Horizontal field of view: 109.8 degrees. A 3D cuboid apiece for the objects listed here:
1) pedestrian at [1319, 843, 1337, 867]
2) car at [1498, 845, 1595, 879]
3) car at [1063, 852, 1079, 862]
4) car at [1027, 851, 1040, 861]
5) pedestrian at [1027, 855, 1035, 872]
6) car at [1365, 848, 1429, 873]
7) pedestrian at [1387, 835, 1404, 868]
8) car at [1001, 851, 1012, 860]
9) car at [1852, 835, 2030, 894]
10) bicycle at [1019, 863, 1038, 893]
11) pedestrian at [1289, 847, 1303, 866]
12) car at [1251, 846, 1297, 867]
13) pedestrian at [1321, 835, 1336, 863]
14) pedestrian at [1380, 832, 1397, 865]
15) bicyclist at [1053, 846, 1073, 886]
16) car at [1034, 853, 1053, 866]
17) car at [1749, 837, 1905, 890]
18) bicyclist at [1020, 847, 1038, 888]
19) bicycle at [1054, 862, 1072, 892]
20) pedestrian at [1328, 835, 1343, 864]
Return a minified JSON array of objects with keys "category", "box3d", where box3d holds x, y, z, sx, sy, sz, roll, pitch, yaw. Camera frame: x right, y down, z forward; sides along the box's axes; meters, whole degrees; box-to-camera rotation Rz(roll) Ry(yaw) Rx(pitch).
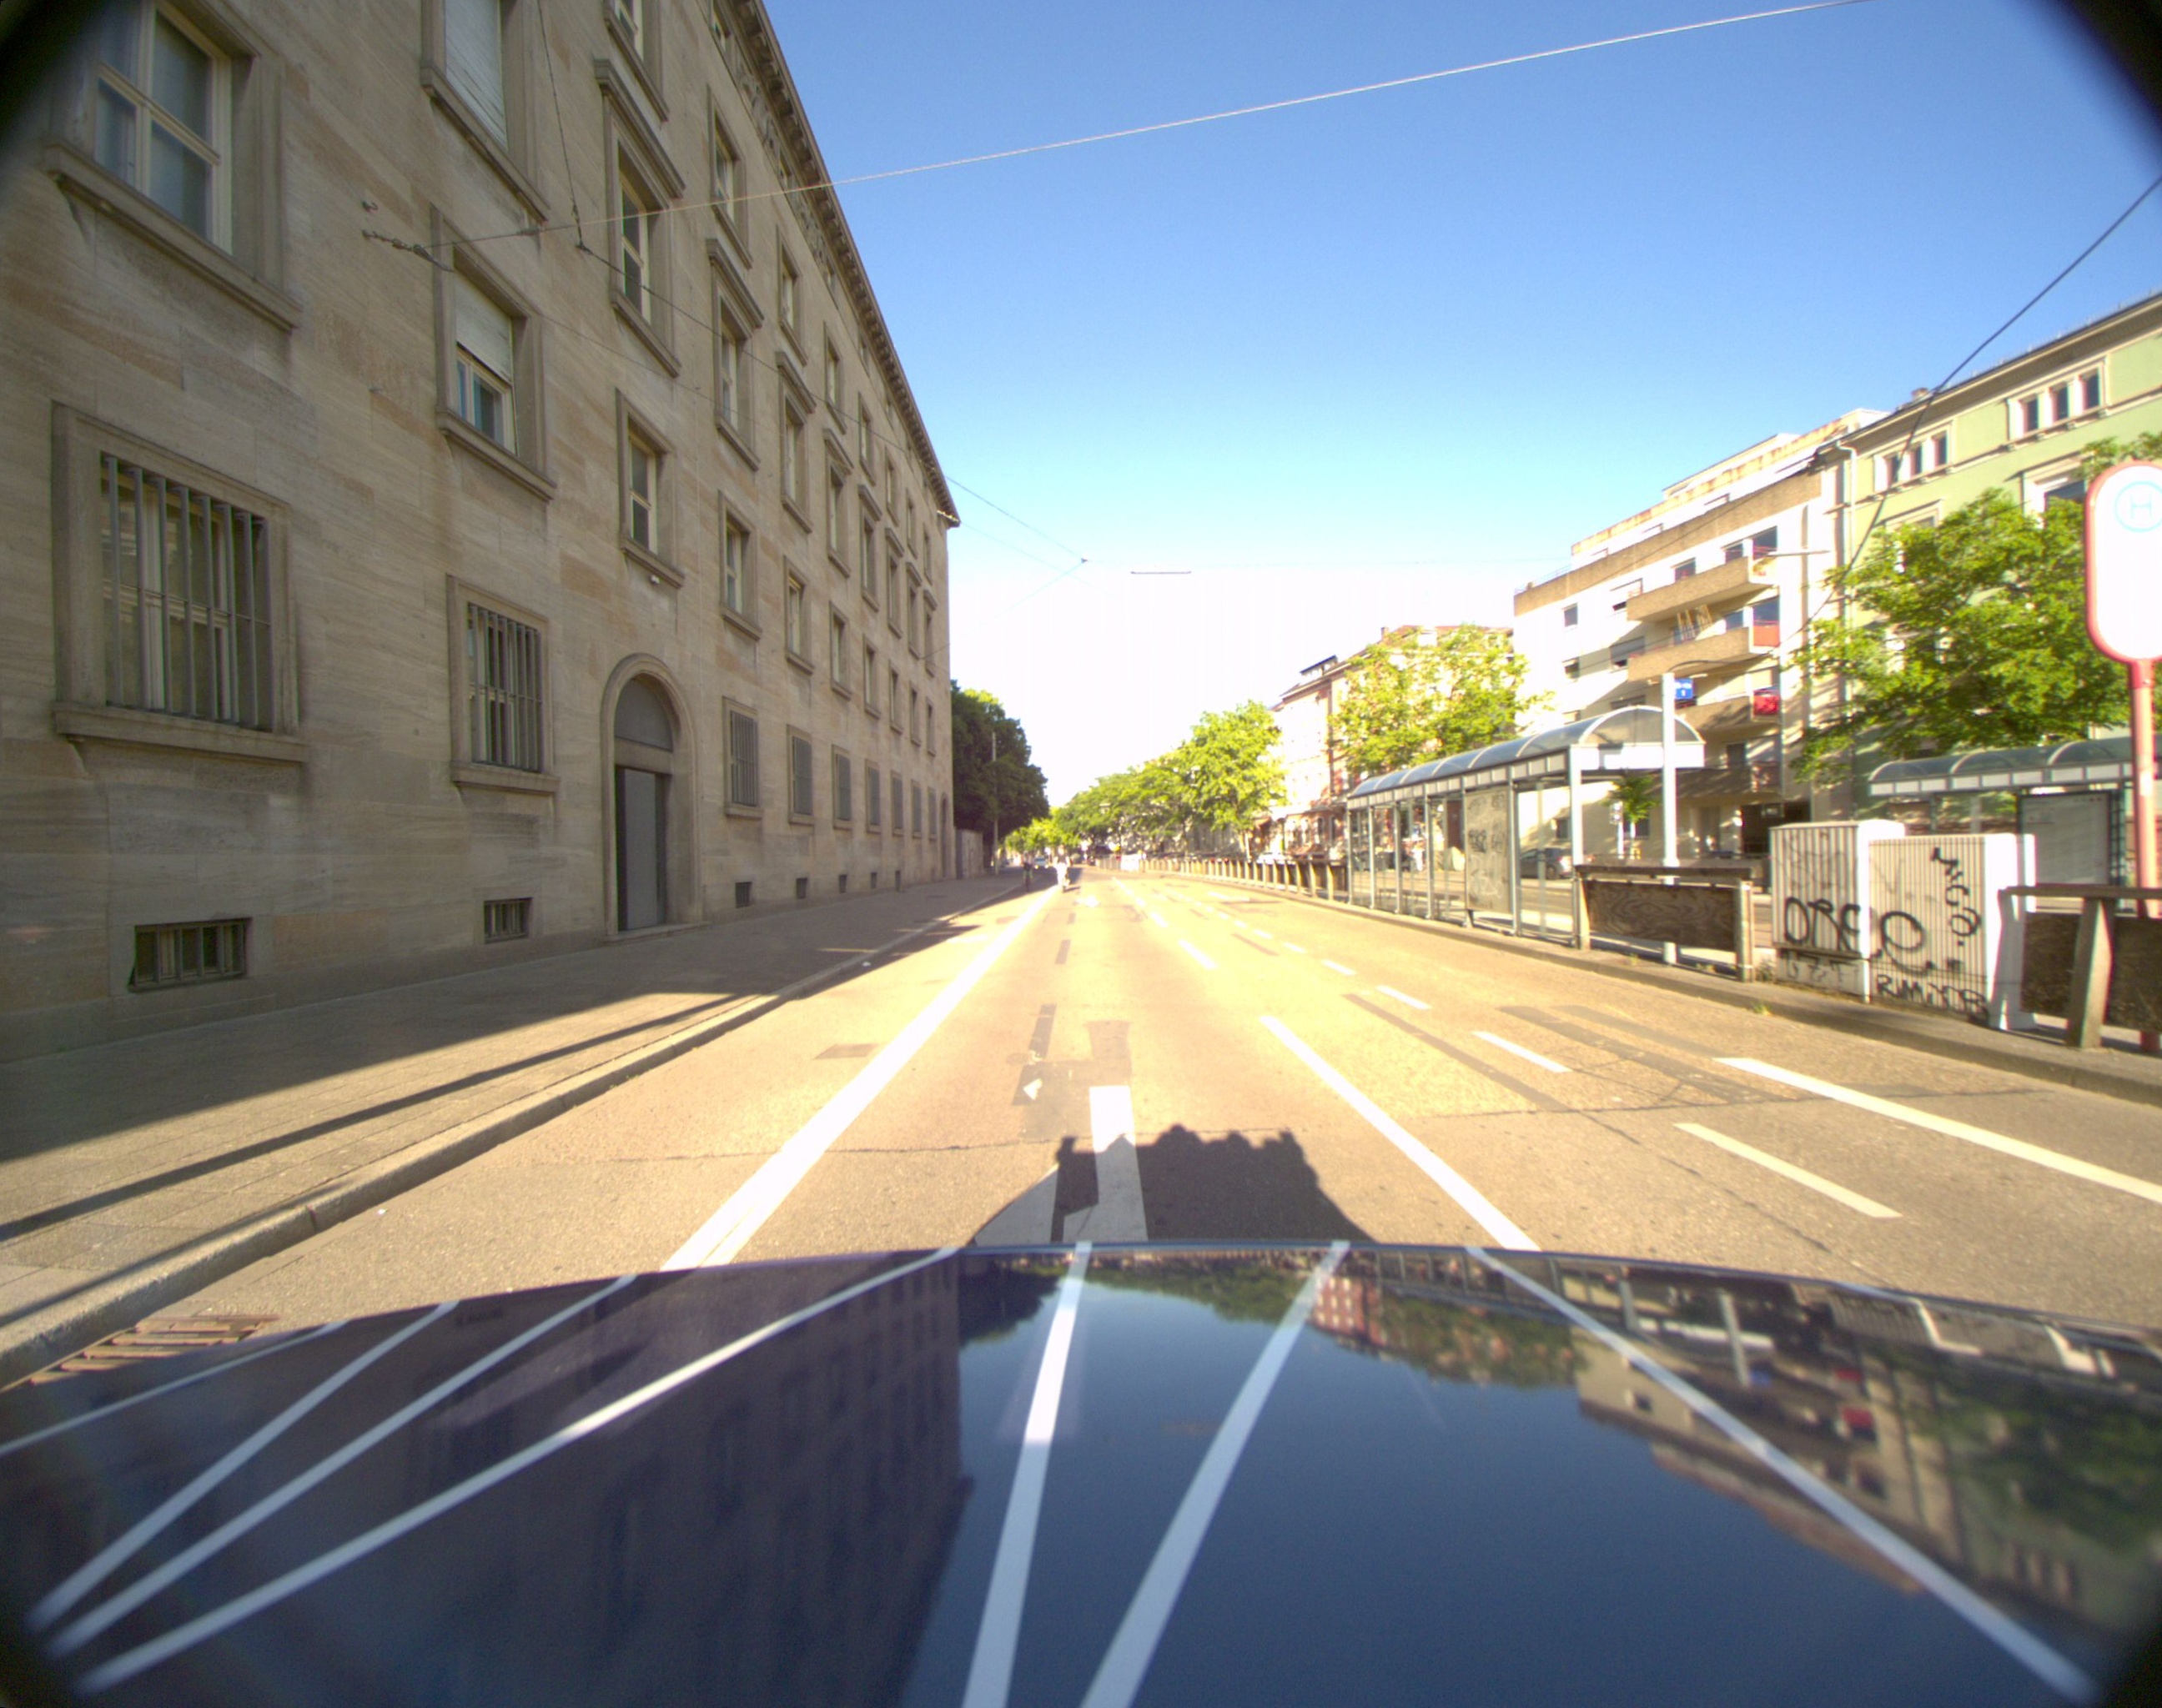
[{"category":"pedestrian","box3d":[17.956,0.064,55.327,0.855,1.710,1.019,-1,1,-9]},{"category":"car","box3d":[20.870,0.346,34.228,1.654,1.419,3.737,-1,0,-11]},{"category":"car","box3d":[-1.508,0.430,114.329,1.648,1.480,3.995,-2,1,-12]},{"category":"car","box3d":[-9.385,0.391,150.043,2.001,1.789,3.995,-1,0,-13]},{"category":"pedestrian","box3d":[-3.873,0.753,58.847,0.548,1.327,0.587,-1,1,7]},{"category":"car","box3d":[18.492,0.346,44.675,1.609,1.388,3.996,-1,0,-9]},{"category":"pedestrian","box3d":[21.293,-0.180,51.464,0.813,2.194,0.756,-1,1,-10]},{"category":"car","box3d":[-15.738,0.341,161.019,2.000,2.002,3.996,-1,0,-10]},{"category":"car","box3d":[24.695,0.269,21.850,4.002,1.573,1.761,-1,0,-14]},{"category":"bicycle","box3d":[-2.229,1.011,32.619,0.625,1.214,1.659,-3,1,1]},{"category":"pedestrian","box3d":[18.564,0.173,65.640,0.869,1.619,0.890,-1,1,-15]},{"category":"car","box3d":[16.202,0.208,63.650,4.134,1.698,1.848,-1,1,-45]},{"category":"pedestrian","box3d":[19.286,-0.382,59.246,0.812,2.194,0.756,-1,1,-4]},{"category":"pedestrian","box3d":[21.180,-0.378,52.391,0.813,2.194,0.756,-1,1,-10]},{"category":"bicyclist","box3d":[-0.728,0.486,30.584,0.728,1.570,0.775,-2,1,1]},{"category":"car","box3d":[-4.537,0.666,92.342,1.772,1.429,3.830,-1,0,-11]},{"category":"car","box3d":[23.908,0.271,24.384,4.002,1.573,1.761,-1,0,-14]},{"category":"bicyclist","box3d":[-2.246,0.559,32.753,0.625,1.729,0.688,-3,1,1]},{"category":"bicycle","box3d":[-0.711,0.919,30.771,0.625,1.167,1.566,-2,0,1]},{"category":"pedestrian","box3d":[19.288,-0.364,57.618,0.813,2.194,0.756,-1,1,-10]}]
